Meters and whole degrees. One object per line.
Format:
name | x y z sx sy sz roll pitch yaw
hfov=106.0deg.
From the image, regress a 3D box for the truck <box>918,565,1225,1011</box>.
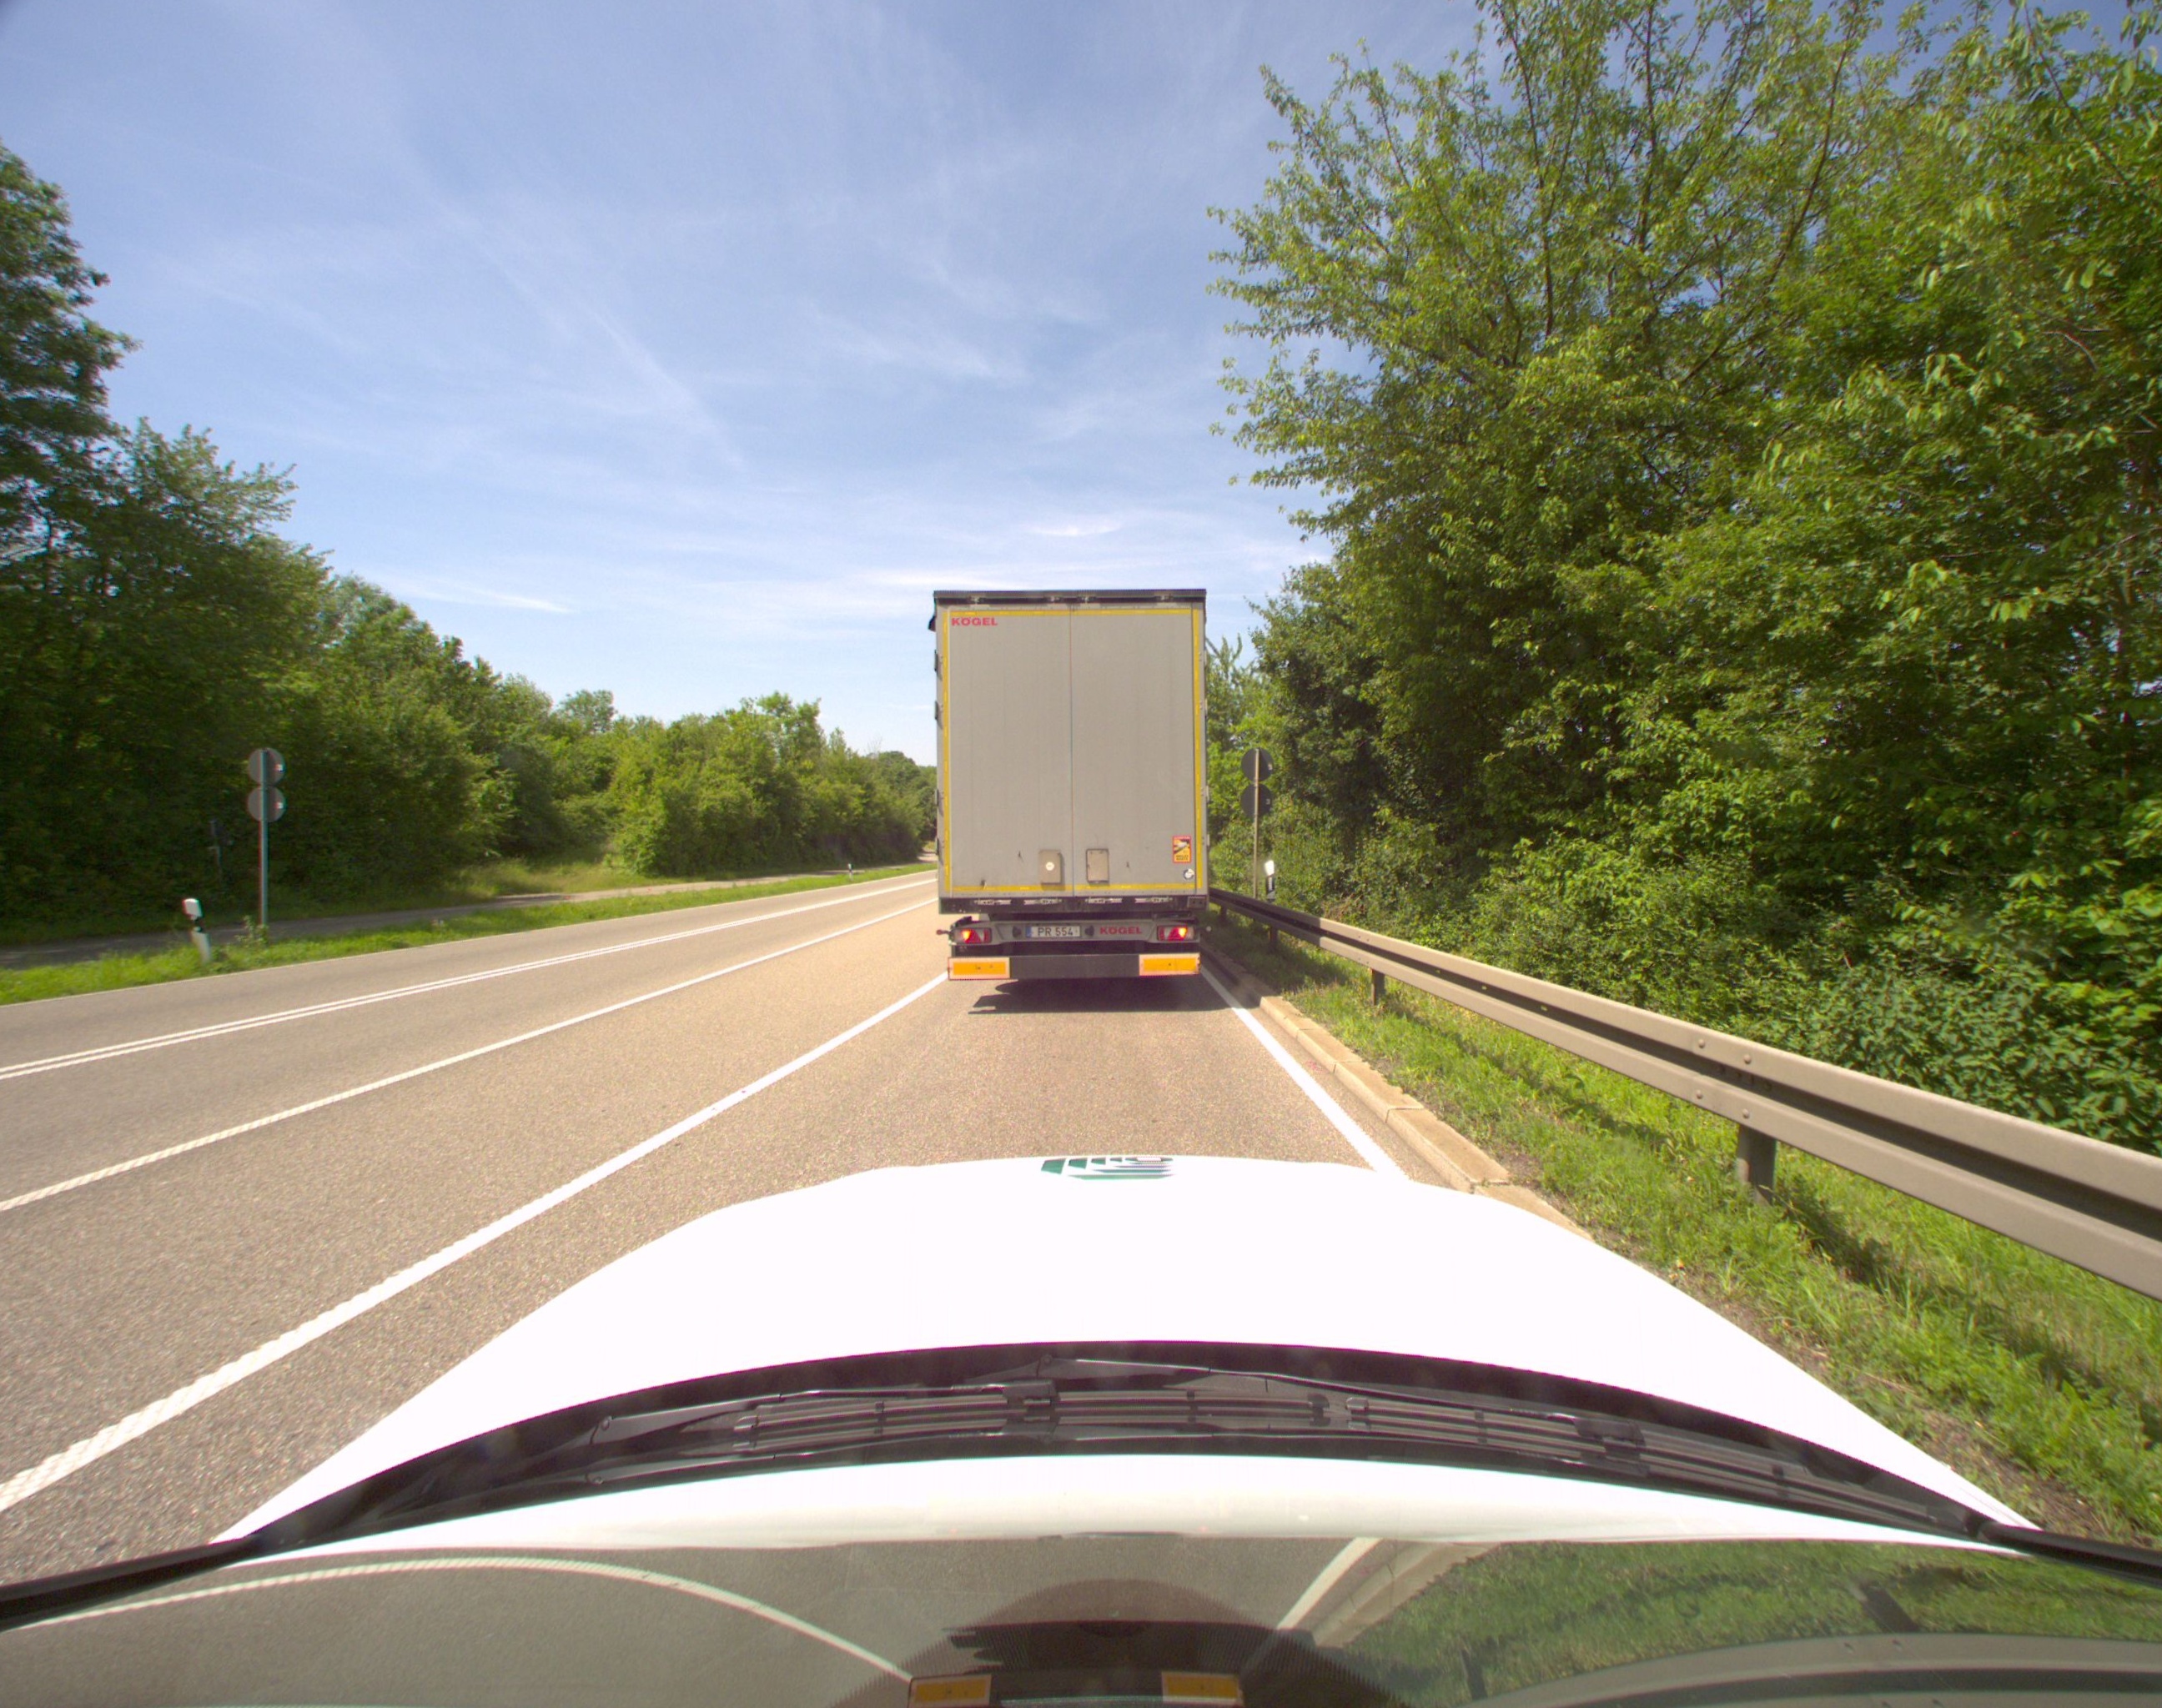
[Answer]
truck | 0.032 -0.622 13.376 2.747 4.029 11.926 -1 0 1
